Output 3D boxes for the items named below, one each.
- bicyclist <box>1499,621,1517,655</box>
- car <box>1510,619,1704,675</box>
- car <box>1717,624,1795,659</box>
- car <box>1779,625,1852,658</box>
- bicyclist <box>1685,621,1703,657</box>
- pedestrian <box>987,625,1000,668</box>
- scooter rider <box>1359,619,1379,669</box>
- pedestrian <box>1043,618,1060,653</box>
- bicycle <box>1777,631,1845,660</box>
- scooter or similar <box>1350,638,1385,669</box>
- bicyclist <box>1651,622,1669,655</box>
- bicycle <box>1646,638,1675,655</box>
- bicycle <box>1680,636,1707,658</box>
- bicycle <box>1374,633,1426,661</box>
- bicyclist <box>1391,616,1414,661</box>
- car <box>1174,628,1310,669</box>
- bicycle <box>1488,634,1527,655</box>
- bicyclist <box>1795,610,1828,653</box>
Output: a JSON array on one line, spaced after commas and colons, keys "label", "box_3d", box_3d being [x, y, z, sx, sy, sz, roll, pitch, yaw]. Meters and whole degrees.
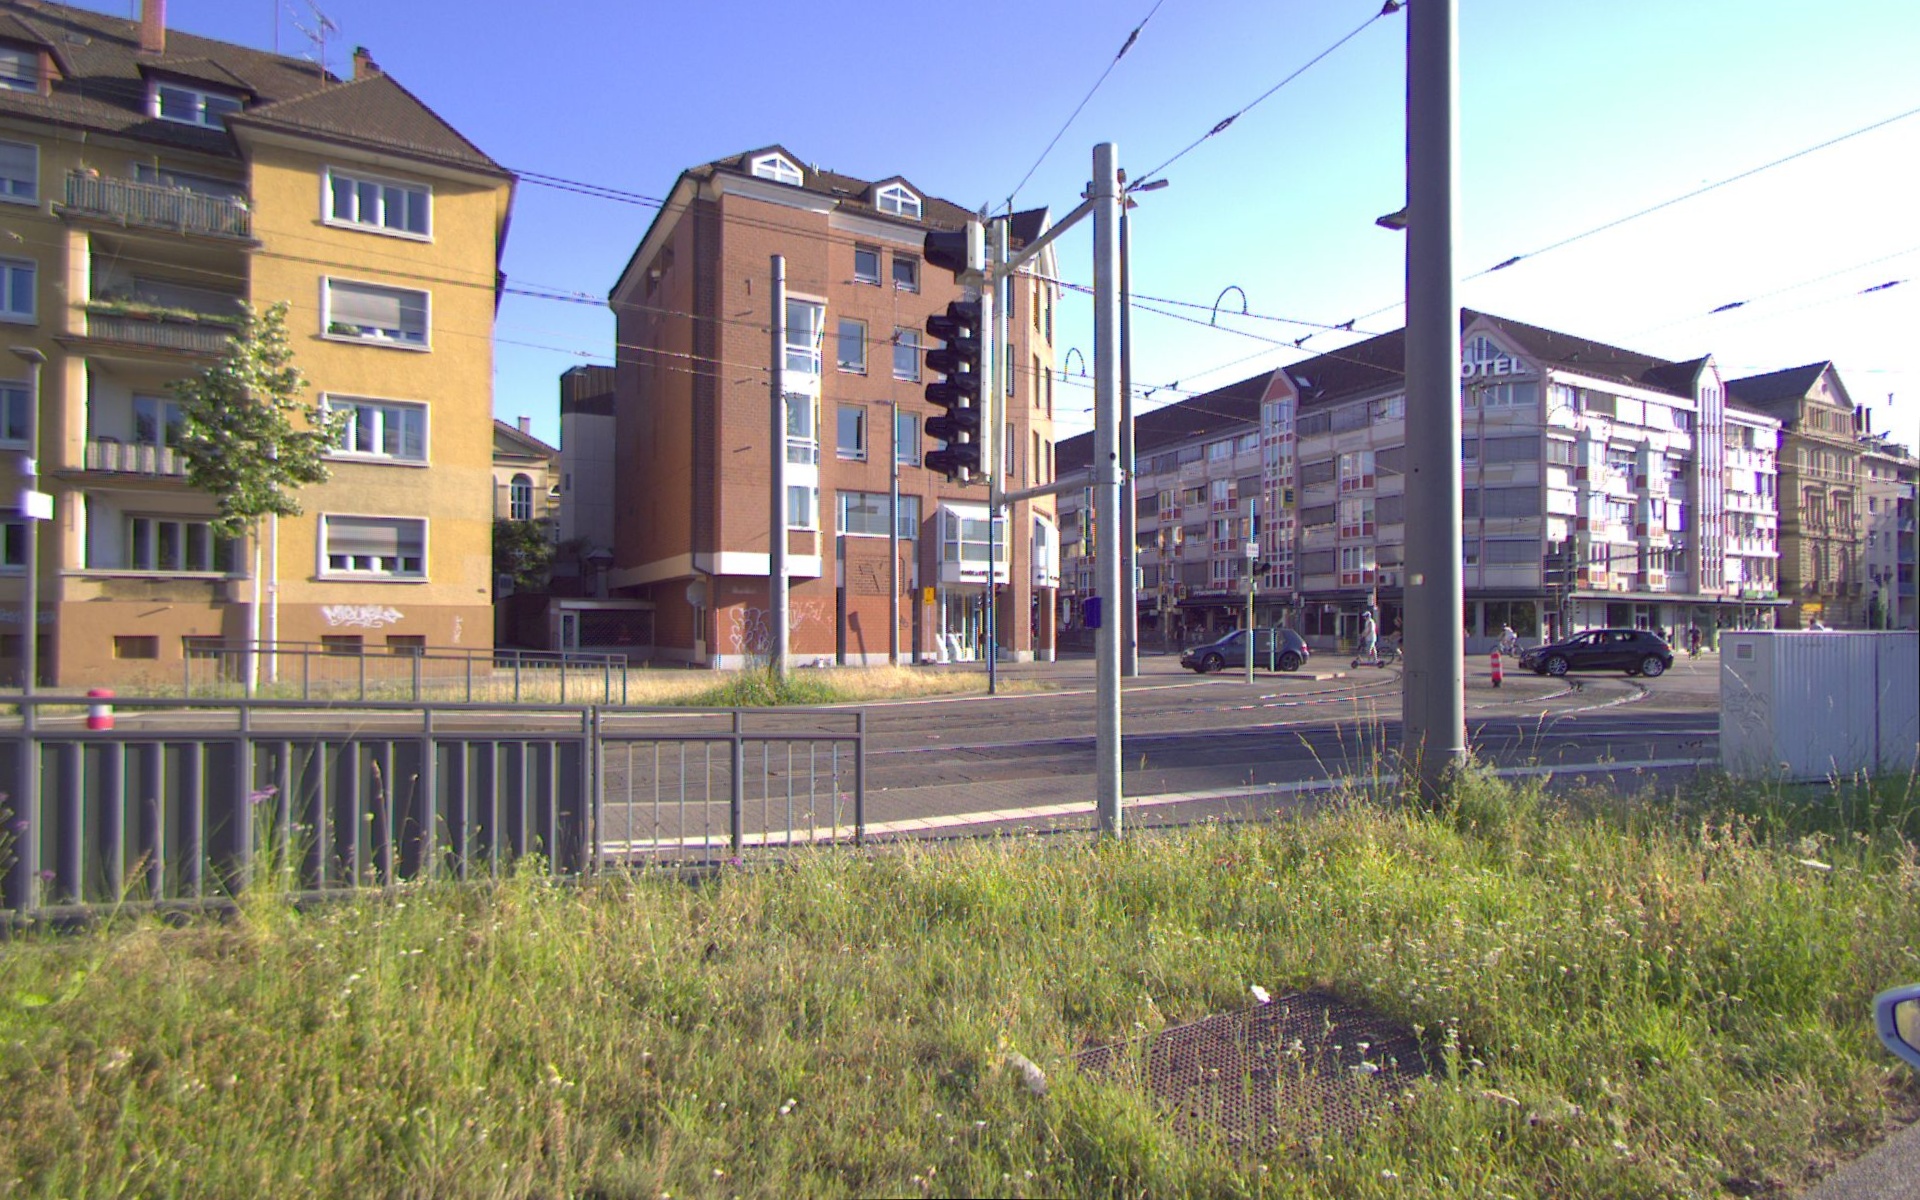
[{"label": "bicyclist", "box_3d": [28.579, 1.968, 52.421, 0.534, 1.734, 0.658, 1, -2, -39]}, {"label": "car", "box_3d": [19.721, 1.425, 30.883, 4.686, 1.617, 2.000, -1, -2, 21]}, {"label": "car", "box_3d": [44.718, 2.318, 56.431, 3.949, 1.884, 1.986, 1, -2, -28]}, {"label": "car", "box_3d": [51.569, 2.484, 60.538, 3.949, 1.884, 1.986, 1, -2, -28]}, {"label": "bicyclist", "box_3d": [41.915, 2.236, 57.373, 0.771, 2.040, 0.599, 1, -1, -34]}, {"label": "pedestrian", "box_3d": [1.443, 2.016, 43.358, 0.532, 1.831, 0.502, 0, -1, -2]}, {"label": "scooter rider", "box_3d": [14.584, 1.566, 35.837, 0.653, 1.734, 0.526, -1, -2, 23]}, {"label": "pedestrian", "box_3d": [5.358, 2.102, 58.908, 0.713, 2.040, 0.712, 1, -1, -26]}, {"label": "bicycle", "box_3d": [35.676, 1.891, 42.130, 0.651, 1.152, 2.081, 1, -2, -33]}, {"label": "scooter or similar", "box_3d": [14.543, 1.899, 35.853, 1.153, 1.086, 0.530, -1, -2, 22]}, {"label": "bicyclist", "box_3d": [39.876, 2.193, 57.193, 0.634, 1.886, 0.590, 1, -2, -28]}, {"label": "bicycle", "box_3d": [39.883, 2.660, 57.173, 1.813, 0.927, 0.596, 1, -2, -28]}, {"label": "bicycle", "box_3d": [41.884, 2.663, 57.356, 1.946, 1.216, 0.604, 1, -1, -33]}, {"label": "bicycle", "box_3d": [16.804, 1.791, 38.406, 1.745, 1.086, 0.535, 0, -1, 7]}, {"label": "bicyclist", "box_3d": [16.909, 1.466, 38.400, 0.652, 1.734, 0.539, 0, -1, 8]}, {"label": "car", "box_3d": [9.147, 1.575, 32.820, 3.920, 1.305, 1.848, 0, -2, 1]}, {"label": "bicycle", "box_3d": [28.573, 2.304, 52.426, 0.535, 1.073, 1.718, 1, -2, -39]}, {"label": "bicyclist", "box_3d": [35.691, 1.321, 42.124, 0.648, 1.776, 0.893, 1, -2, -33]}]
